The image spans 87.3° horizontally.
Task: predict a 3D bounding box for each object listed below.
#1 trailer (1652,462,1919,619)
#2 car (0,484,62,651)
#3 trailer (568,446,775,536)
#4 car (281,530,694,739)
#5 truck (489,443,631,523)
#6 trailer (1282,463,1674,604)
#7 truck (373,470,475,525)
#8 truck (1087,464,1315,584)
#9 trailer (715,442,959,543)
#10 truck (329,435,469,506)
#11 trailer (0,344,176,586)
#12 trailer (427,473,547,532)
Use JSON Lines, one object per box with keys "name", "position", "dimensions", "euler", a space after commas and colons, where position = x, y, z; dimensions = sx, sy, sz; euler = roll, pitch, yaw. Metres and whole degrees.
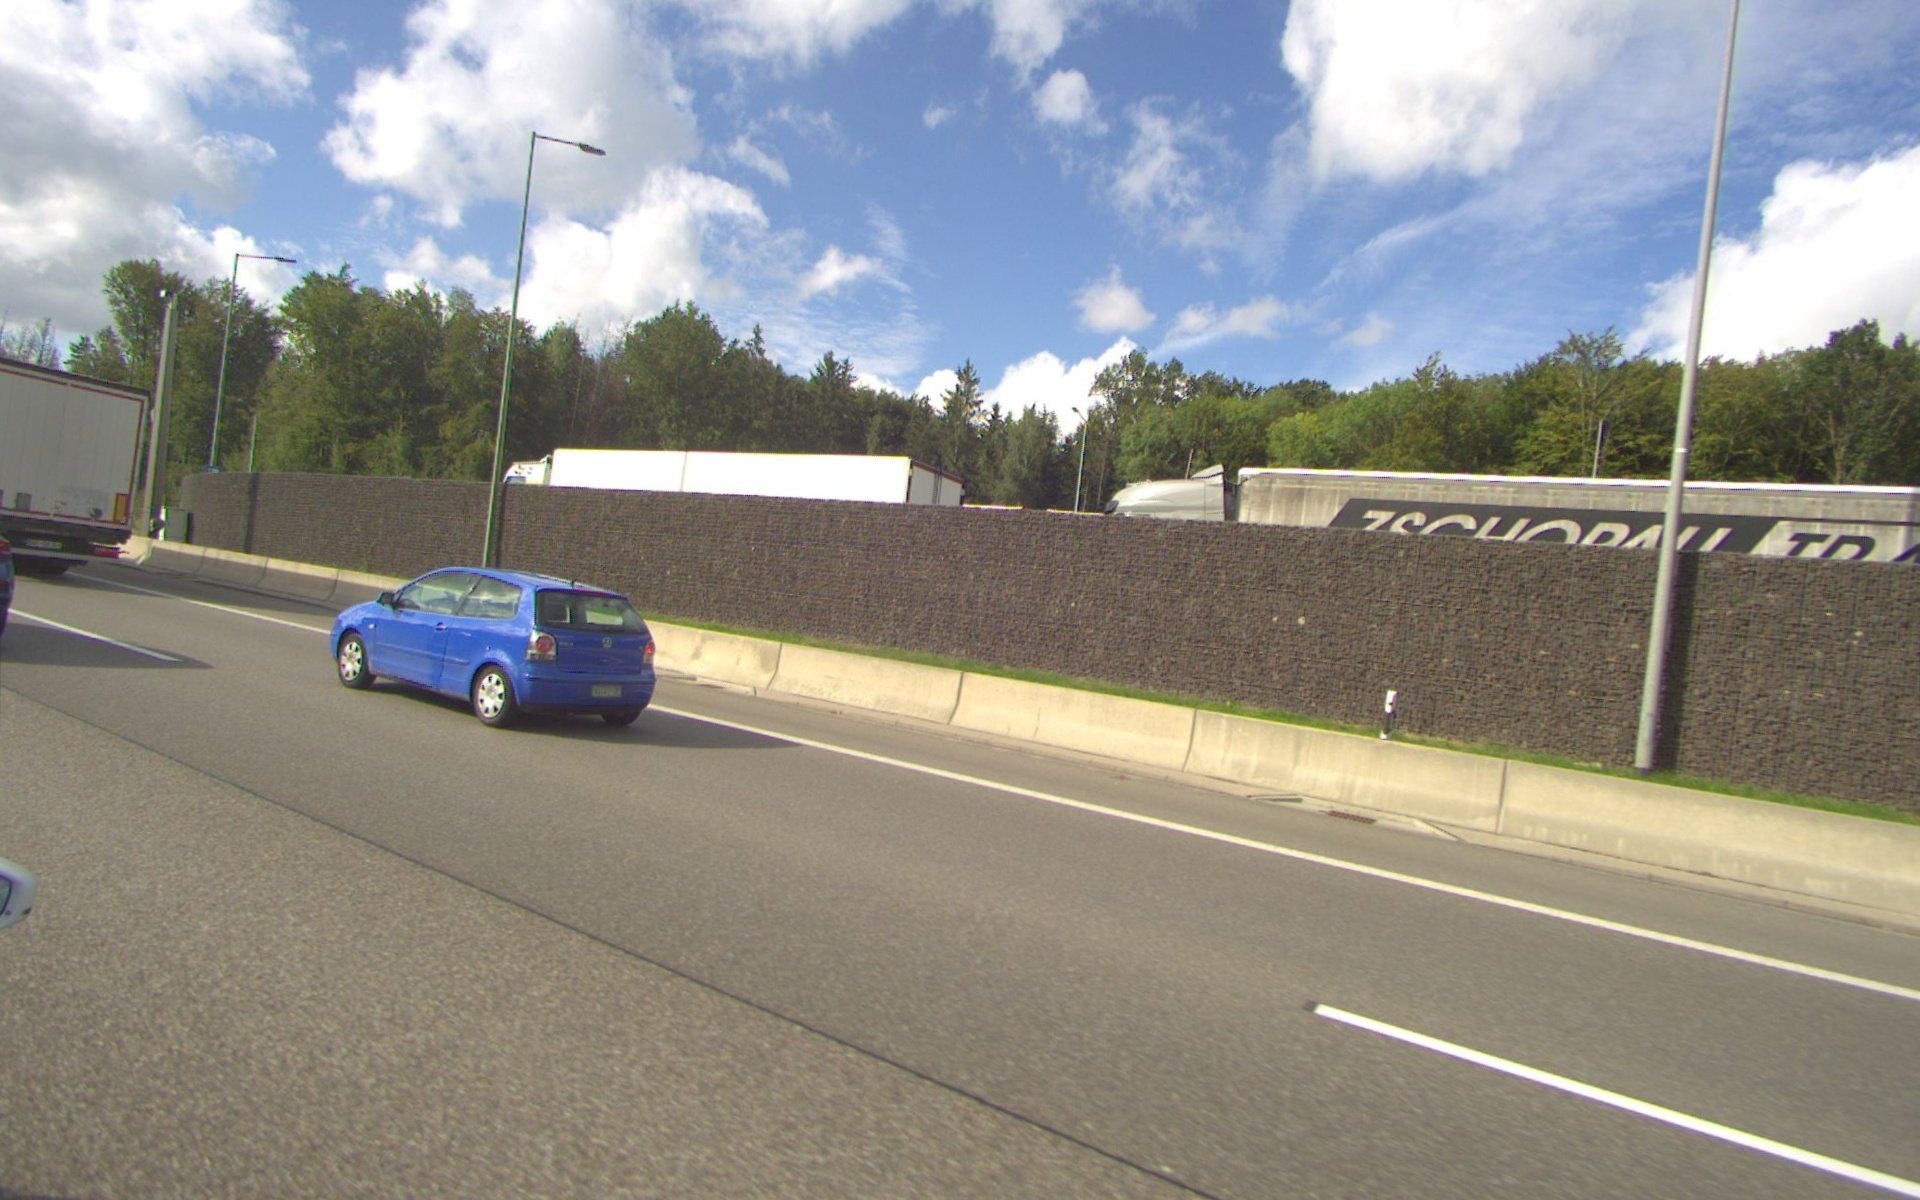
{"name": "trailer", "position": [14.620, -0.816, 14.968], "dimensions": [6.850, 2.037, 2.055], "euler": [5, -3, 31]}
{"name": "car", "position": [-11.287, -0.555, 10.211], "dimensions": [4.569, 1.559, 1.927], "euler": [6, -1, 32]}
{"name": "trailer", "position": [-8.556, -3.226, 29.584], "dimensions": [6.131, 2.038, 2.133], "euler": [7, 0, 31]}
{"name": "car", "position": [-5.036, 0.304, 10.580], "dimensions": [4.229, 1.529, 1.718], "euler": [7, -1, 31]}
{"name": "truck", "position": [-12.814, -3.741, 32.190], "dimensions": [3.933, 2.038, 2.149], "euler": [7, 0, 31]}
{"name": "trailer", "position": [9.183, -1.248, 18.293], "dimensions": [5.907, 2.037, 2.049], "euler": [5, -3, 31]}
{"name": "truck", "position": [-25.057, -4.793, 47.067], "dimensions": [3.930, 2.038, 2.220], "euler": [7, 0, 27]}
{"name": "truck", "position": [4.983, -1.581, 20.865], "dimensions": [4.029, 2.037, 2.049], "euler": [5, -3, 31]}
{"name": "trailer", "position": [-3.313, -2.853, 26.400], "dimensions": [6.216, 2.038, 2.133], "euler": [7, 0, 31]}
{"name": "truck", "position": [-20.133, -4.584, 36.034], "dimensions": [5.321, 2.037, 1.996], "euler": [4, -3, 33]}
{"name": "trailer", "position": [-22.721, -2.924, 22.666], "dimensions": [13.662, 4.081, 3.044], "euler": [5, -2, 32]}
{"name": "trailer", "position": [-21.205, -4.359, 45.083], "dimensions": [4.887, 2.038, 2.206], "euler": [7, 0, 27]}
